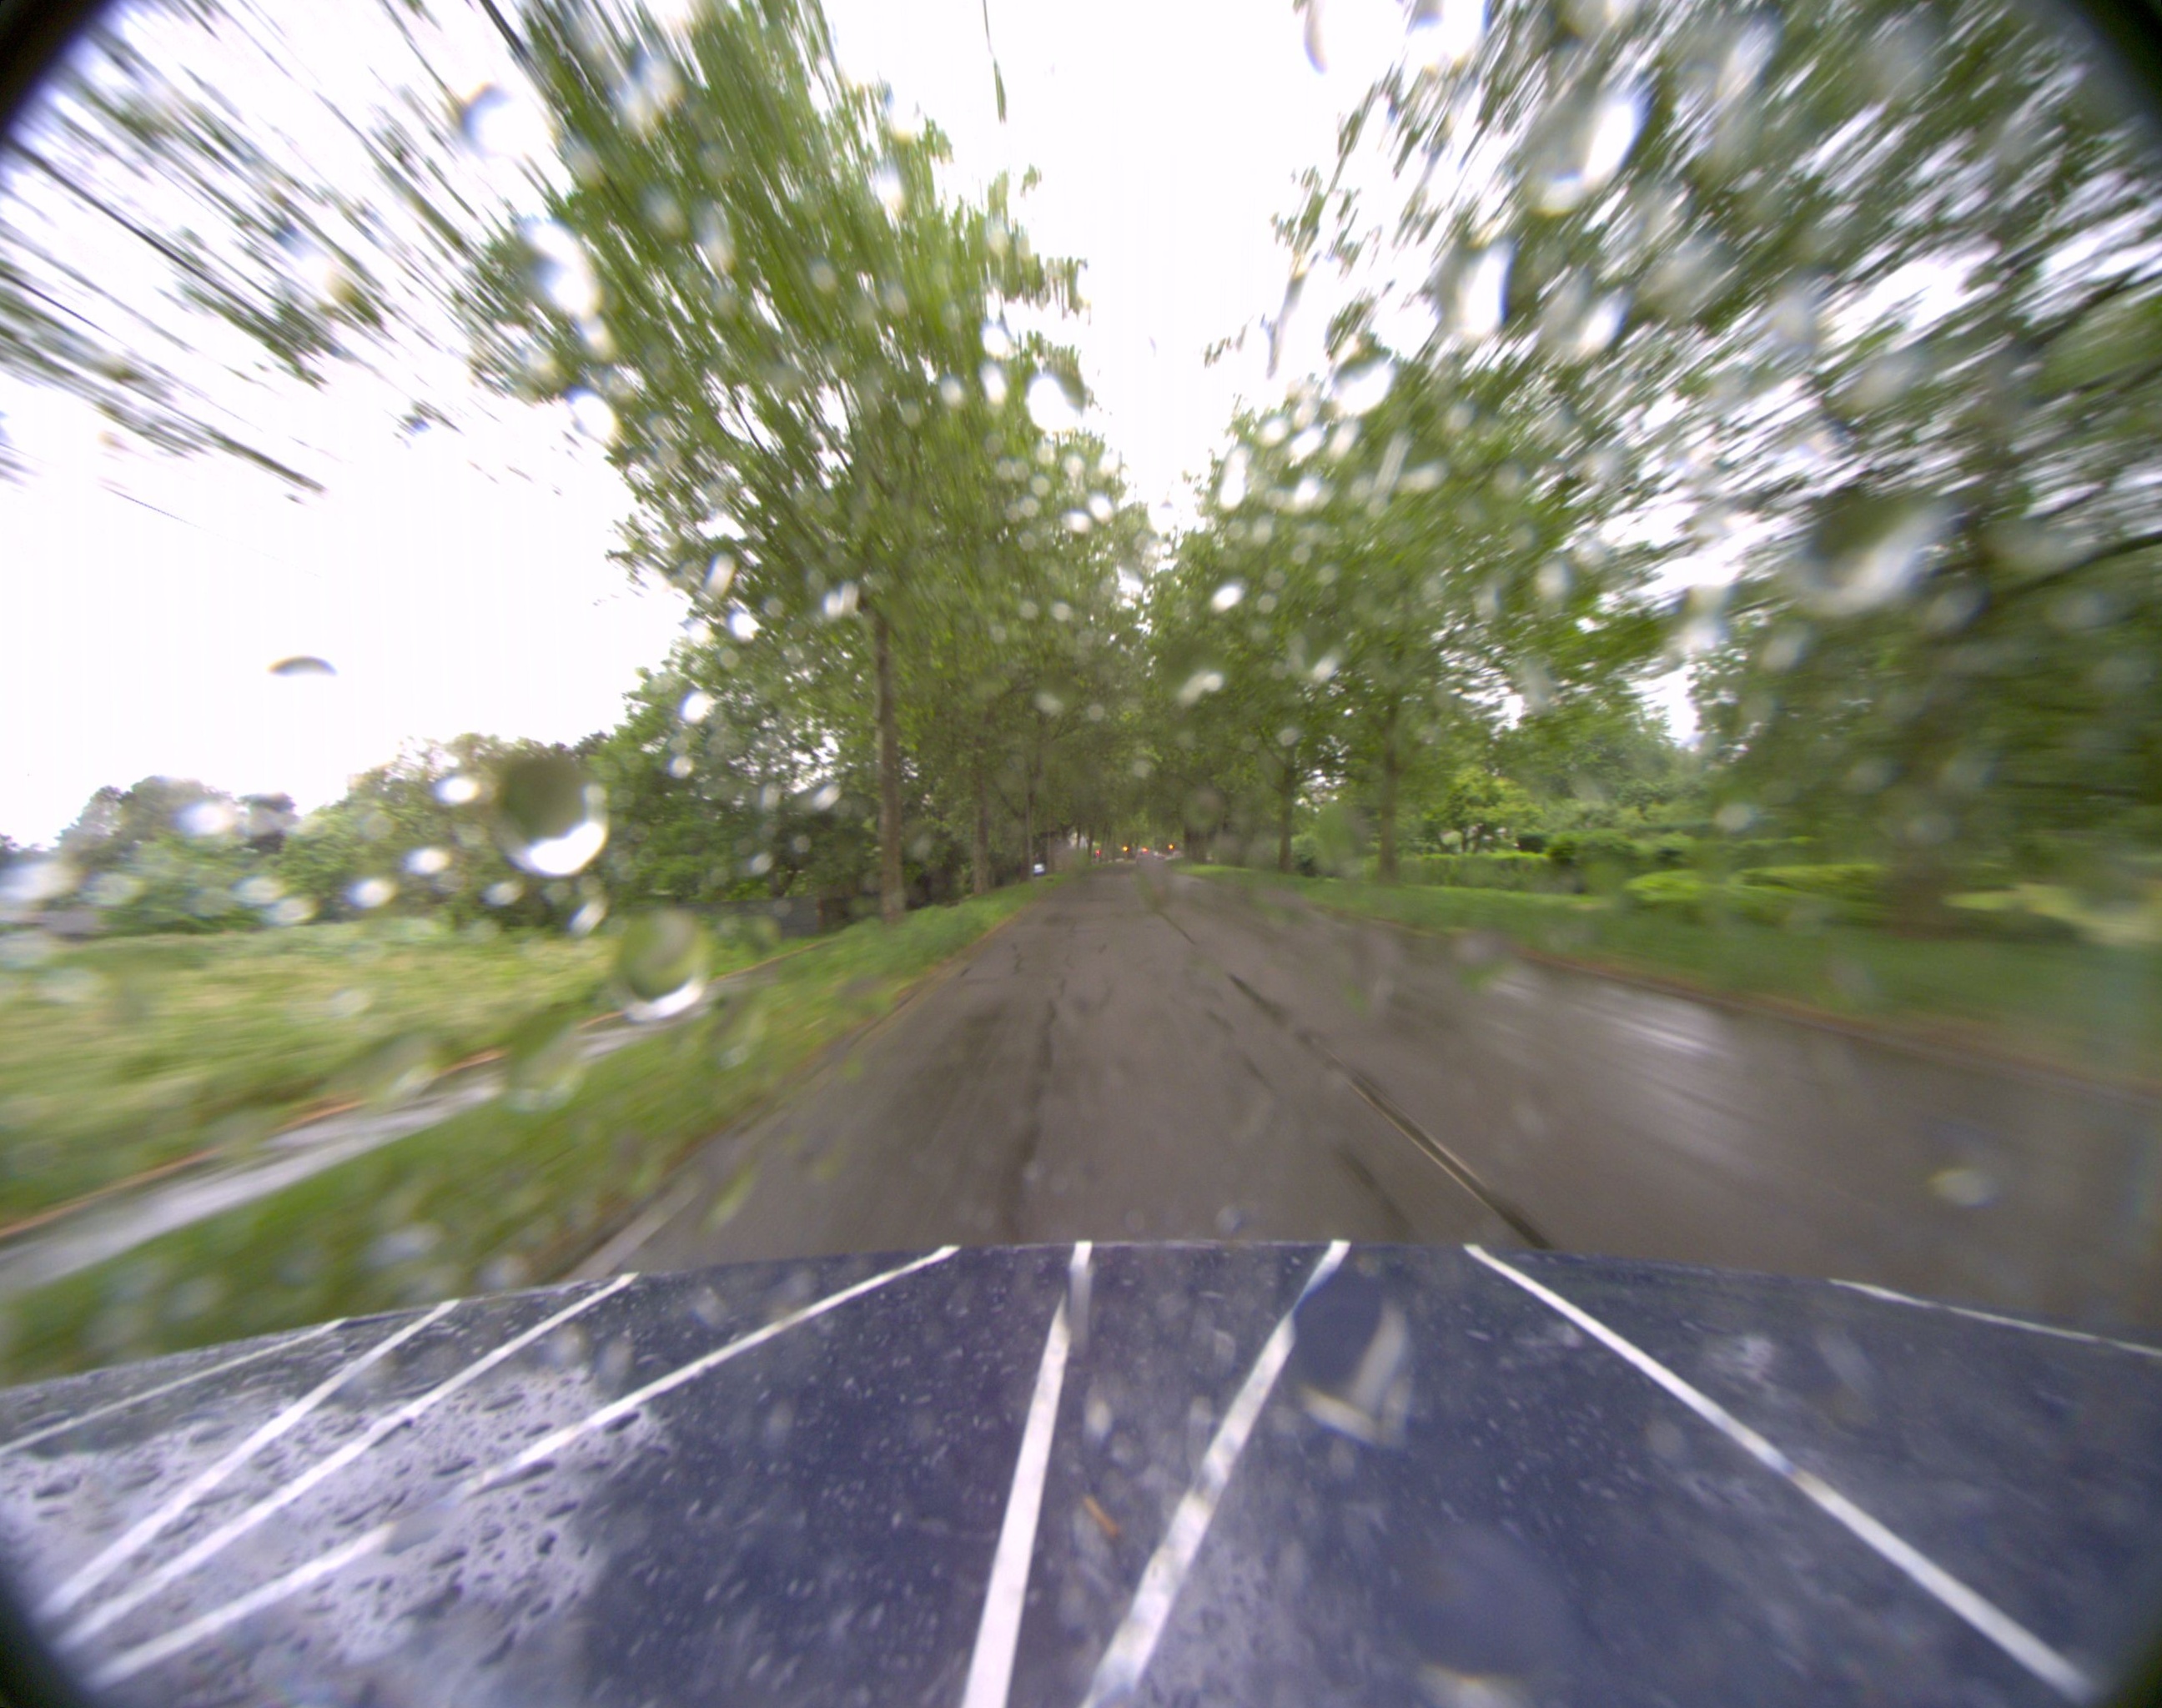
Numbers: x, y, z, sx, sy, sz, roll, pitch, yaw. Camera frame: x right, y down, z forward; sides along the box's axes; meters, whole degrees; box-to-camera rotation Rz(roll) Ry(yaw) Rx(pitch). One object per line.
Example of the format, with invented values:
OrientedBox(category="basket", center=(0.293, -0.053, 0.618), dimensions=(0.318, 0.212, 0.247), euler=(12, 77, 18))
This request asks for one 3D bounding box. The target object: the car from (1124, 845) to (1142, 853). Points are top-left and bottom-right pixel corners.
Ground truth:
OrientedBox(category="car", center=(12.829, -1.256, 188.849), dimensions=(4.262, 1.845, 1.892), euler=(-3, 1, 0))

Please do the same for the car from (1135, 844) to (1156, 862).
OrientedBox(category="car", center=(6.691, -0.099, 79.132), dimensions=(1.867, 1.740, 5.015), euler=(-1, 0, 2))

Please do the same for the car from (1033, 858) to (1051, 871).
OrientedBox(category="car", center=(-4.830, 1.325, 94.162), dimensions=(1.800, 1.317, 4.000), euler=(-7, 0, 2))
